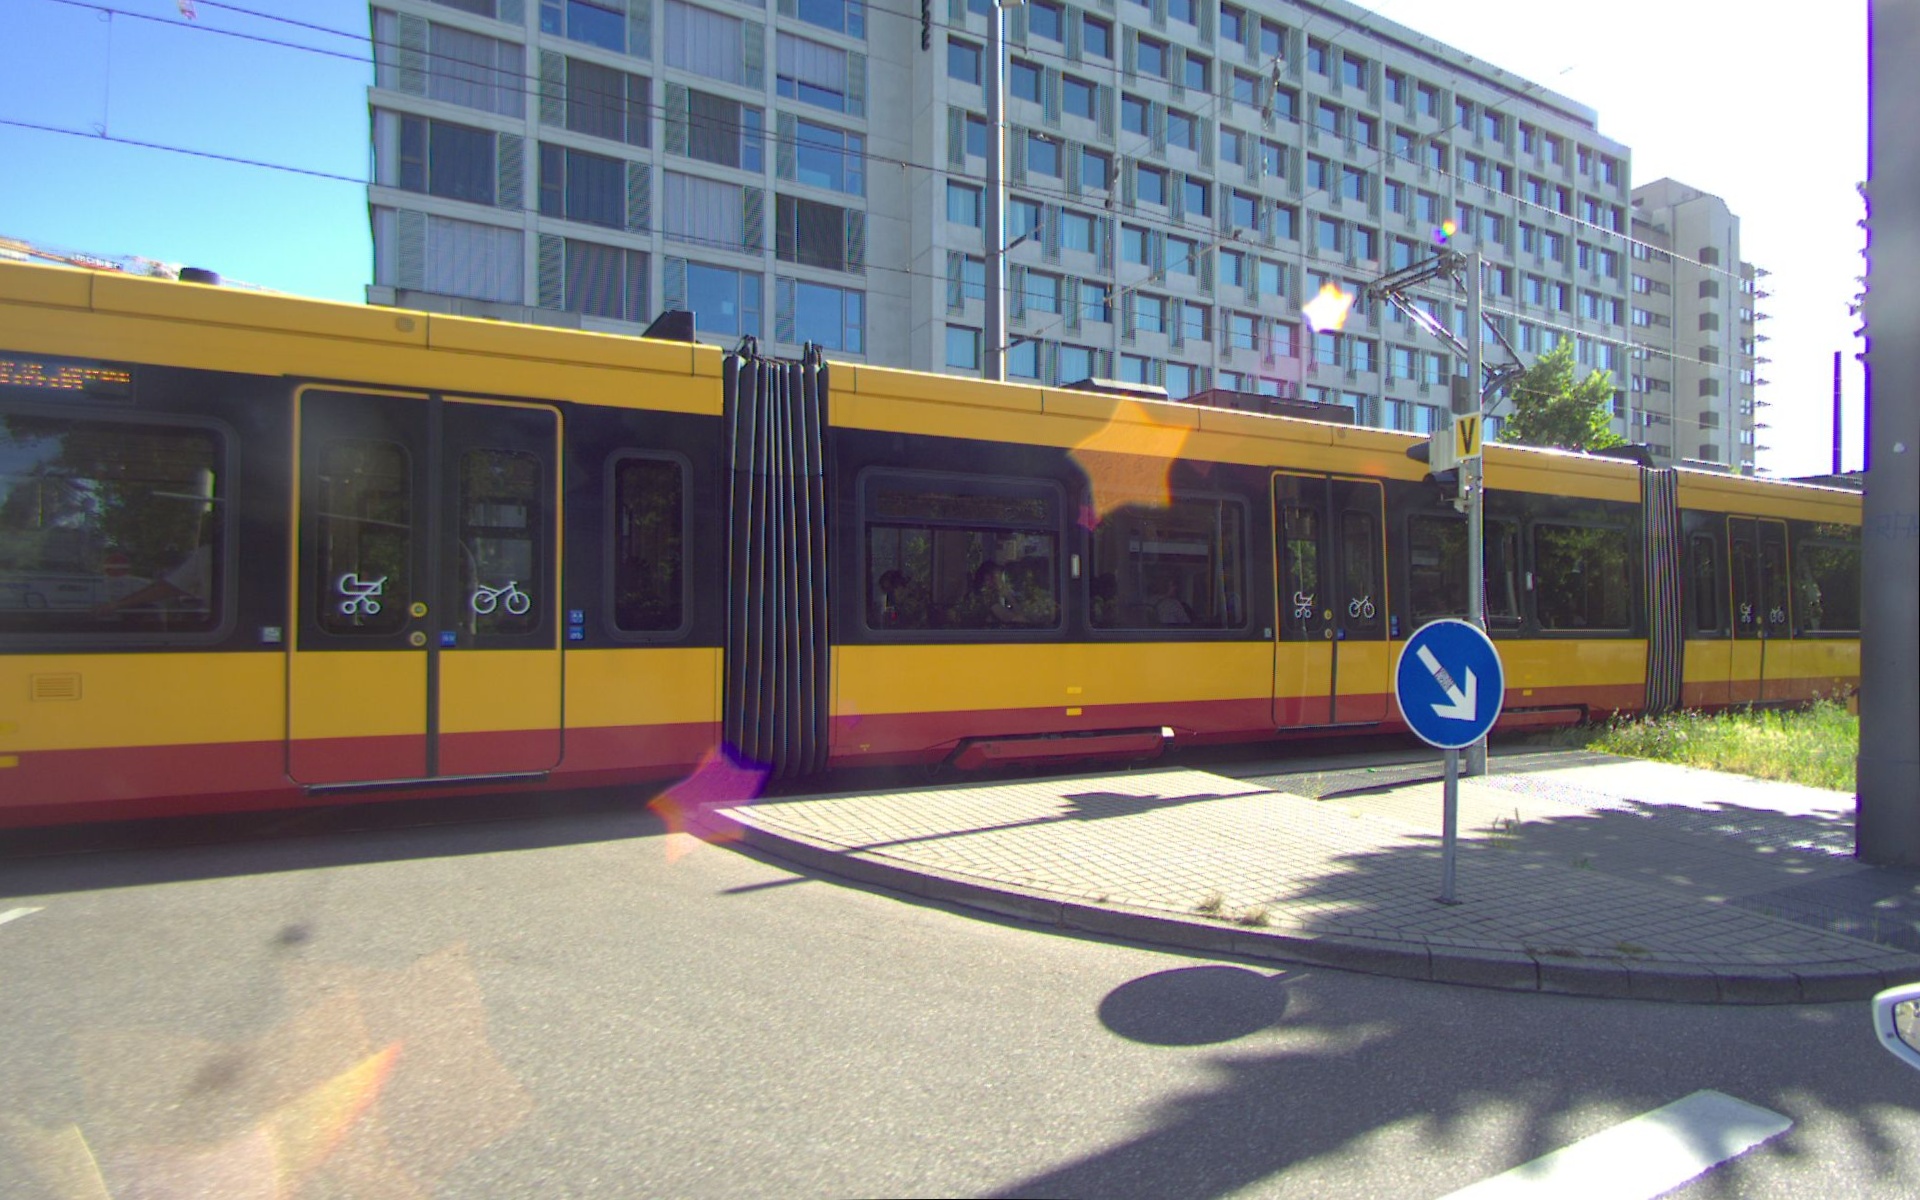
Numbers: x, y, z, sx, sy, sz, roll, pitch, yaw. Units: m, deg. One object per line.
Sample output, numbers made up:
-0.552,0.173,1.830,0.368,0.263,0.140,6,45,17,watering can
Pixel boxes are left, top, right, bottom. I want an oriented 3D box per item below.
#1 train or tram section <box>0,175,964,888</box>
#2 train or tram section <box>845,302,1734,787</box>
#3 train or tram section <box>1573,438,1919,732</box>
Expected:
-6.675,-0.383,5.522,13.966,3.718,1.987,1,0,-27,train or tram section
4.363,-0.316,11.105,11.168,3.718,1.986,1,0,-27,train or tram section
14.459,-0.075,16.203,11.531,3.718,1.986,1,0,-27,train or tram section
